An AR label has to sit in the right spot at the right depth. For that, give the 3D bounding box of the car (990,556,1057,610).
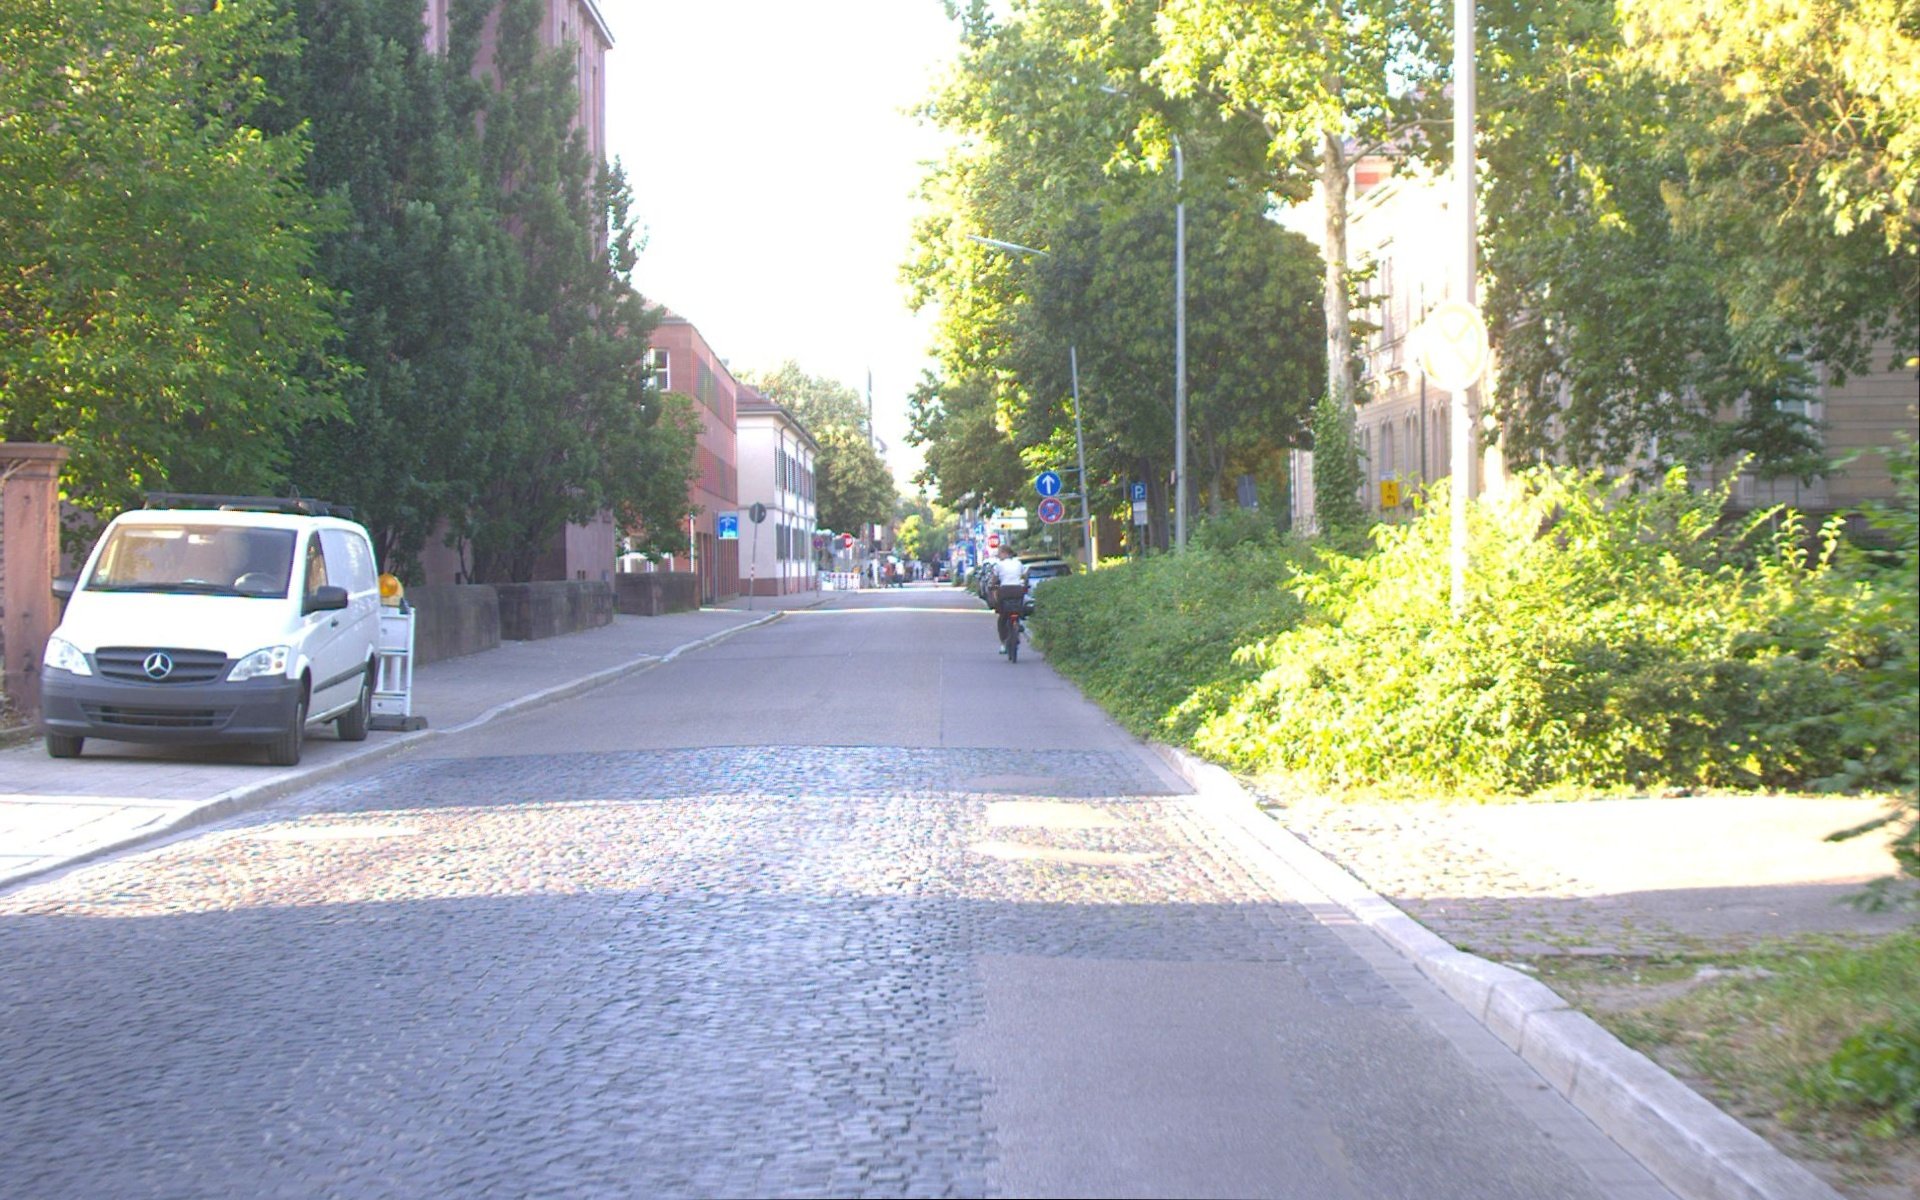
[{"bbox_3d":[1.819,-0.510,100.195,1.715,1.532,4.049,0,1,-2],"label":"car"}]

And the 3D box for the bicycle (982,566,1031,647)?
[{"bbox_3d":[0.700,0.084,51.807,0.638,1.189,1.876,0,0,-2],"label":"bicycle"}]

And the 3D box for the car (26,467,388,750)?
[{"bbox_3d":[-5.814,0.078,27.176,1.882,2.007,5.226,1,0,-2],"label":"car"}]

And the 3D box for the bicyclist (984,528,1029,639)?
[{"bbox_3d":[0.698,-0.251,51.812,0.639,1.662,0.843,0,0,-2],"label":"bicyclist"}]

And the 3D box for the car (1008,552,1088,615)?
[{"bbox_3d":[2.198,-0.399,86.433,1.685,1.442,3.672,-4,0,-2],"label":"car"}]
